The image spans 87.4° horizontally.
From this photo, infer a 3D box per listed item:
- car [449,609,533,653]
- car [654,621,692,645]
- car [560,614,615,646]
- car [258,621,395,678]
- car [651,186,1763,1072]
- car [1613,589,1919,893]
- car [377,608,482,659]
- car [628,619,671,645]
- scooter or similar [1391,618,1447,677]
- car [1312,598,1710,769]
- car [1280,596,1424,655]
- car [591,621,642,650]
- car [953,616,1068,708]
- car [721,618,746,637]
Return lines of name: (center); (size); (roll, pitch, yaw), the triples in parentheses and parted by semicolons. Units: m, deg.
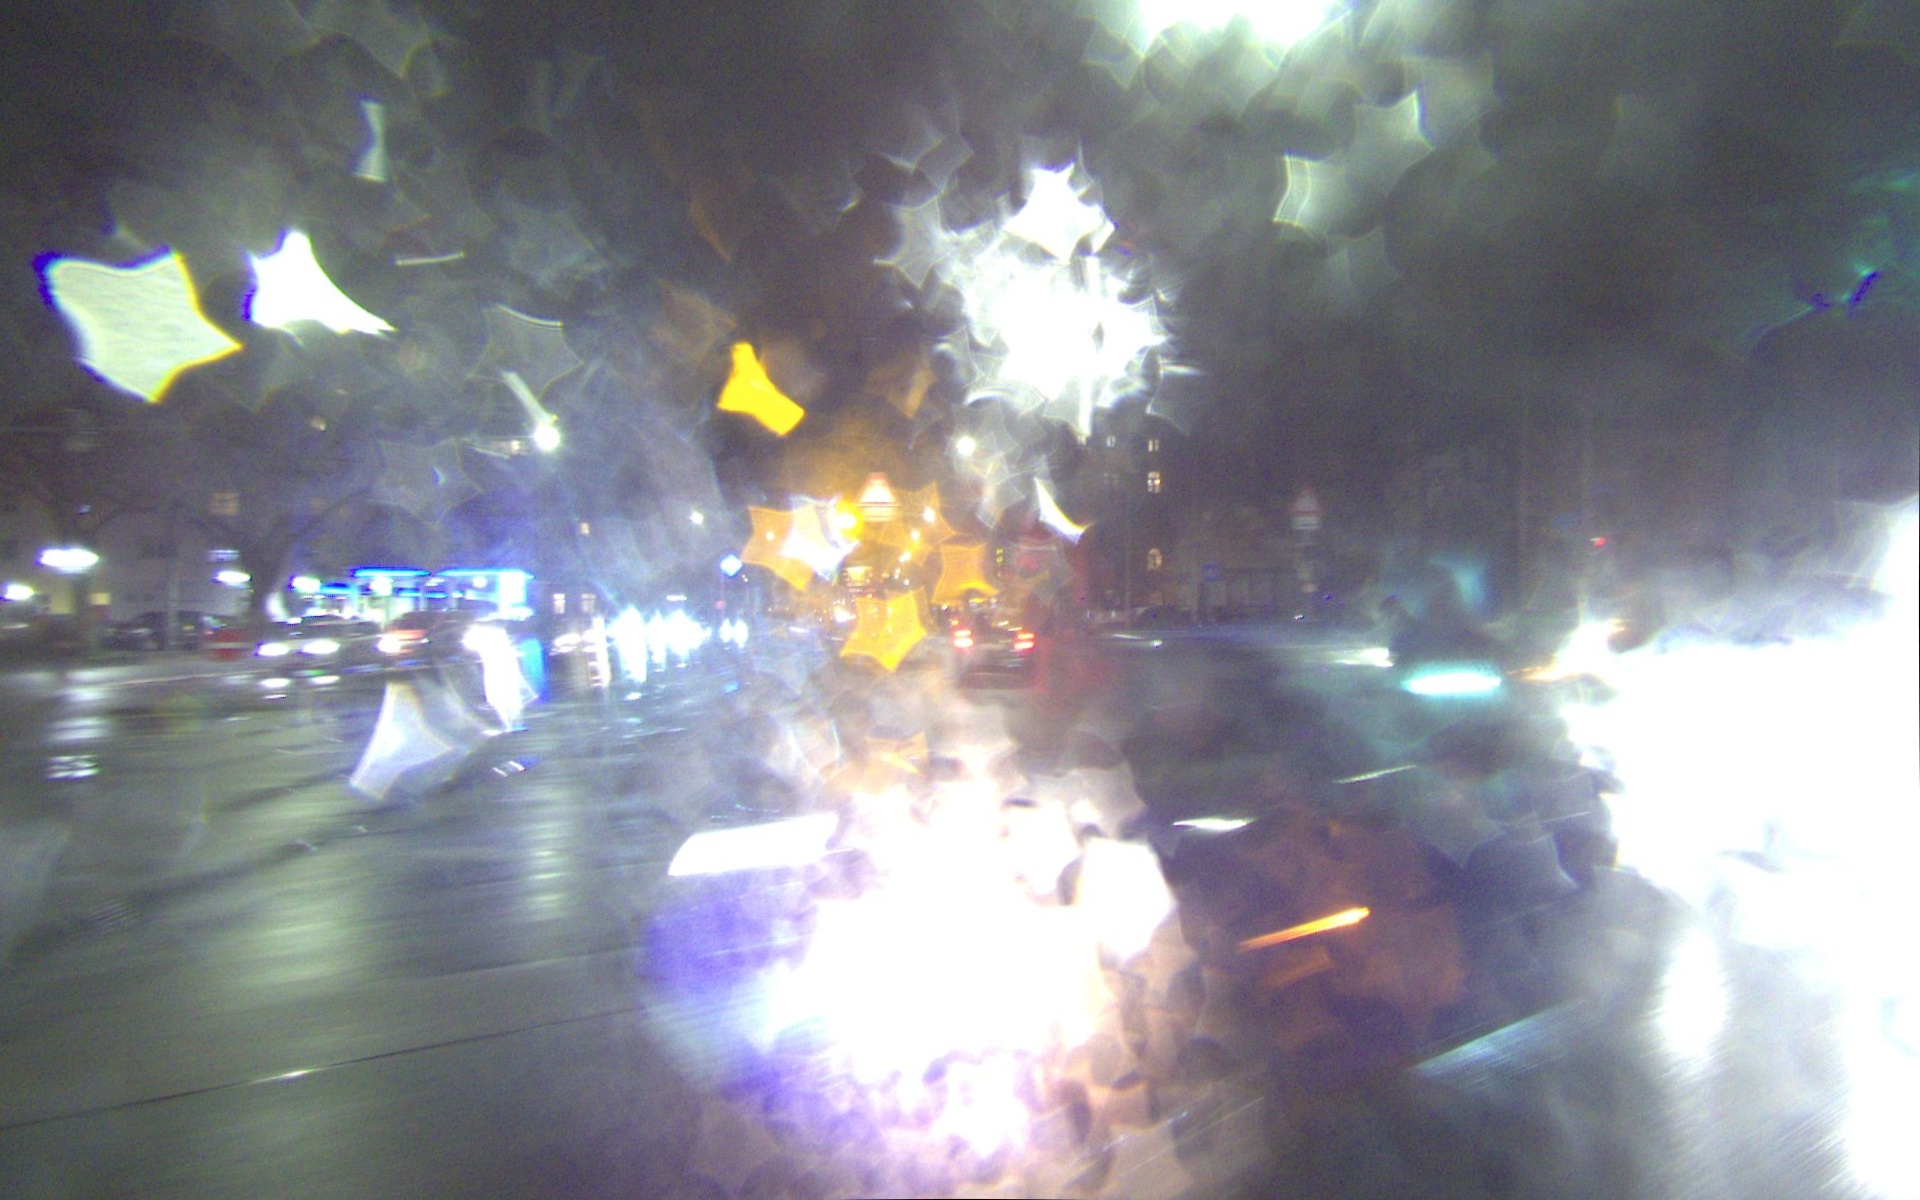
car: (-20.376, 1.316, 43.855); (1.862, 1.766, 4.735); (-1, -1, -6)
car: (-22.860, 2.617, 80.134); (1.861, 1.766, 4.738); (-1, -1, -4)
car: (-21.276, 1.692, 57.522); (1.862, 1.766, 4.735); (-1, -1, -6)
car: (-19.511, 1.471, 31.187); (1.862, 1.590, 4.329); (-1, -1, -6)
car: (1.116, 0.061, 3.605); (3.948, 1.563, 1.696); (0, -1, -35)
car: (6.384, 0.741, 6.822); (3.960, 1.583, 1.661); (0, -1, -30)
car: (-19.842, 1.236, 37.828); (1.862, 1.766, 4.735); (-1, -1, -6)
car: (-22.326, 2.268, 72.319); (1.861, 1.766, 4.738); (-1, -1, -4)
scooter or similar: (9.931, 1.015, 21.733); (1.061, 1.256, 0.285); (-1, 0, 33)
car: (5.866, 0.755, 10.649); (4.007, 1.506, 1.757); (0, -1, -27)
car: (13.096, 0.829, 33.688); (4.114, 1.723, 1.702); (-2, 0, -5)
car: (-22.036, 2.258, 64.597); (1.861, 1.766, 4.738); (-1, -1, -4)
car: (1.013, 1.292, 22.375); (1.862, 1.804, 4.329); (-1, -1, -6)
car: (-22.253, 2.673, 98.997); (1.862, 1.766, 4.735); (-1, -1, -6)
